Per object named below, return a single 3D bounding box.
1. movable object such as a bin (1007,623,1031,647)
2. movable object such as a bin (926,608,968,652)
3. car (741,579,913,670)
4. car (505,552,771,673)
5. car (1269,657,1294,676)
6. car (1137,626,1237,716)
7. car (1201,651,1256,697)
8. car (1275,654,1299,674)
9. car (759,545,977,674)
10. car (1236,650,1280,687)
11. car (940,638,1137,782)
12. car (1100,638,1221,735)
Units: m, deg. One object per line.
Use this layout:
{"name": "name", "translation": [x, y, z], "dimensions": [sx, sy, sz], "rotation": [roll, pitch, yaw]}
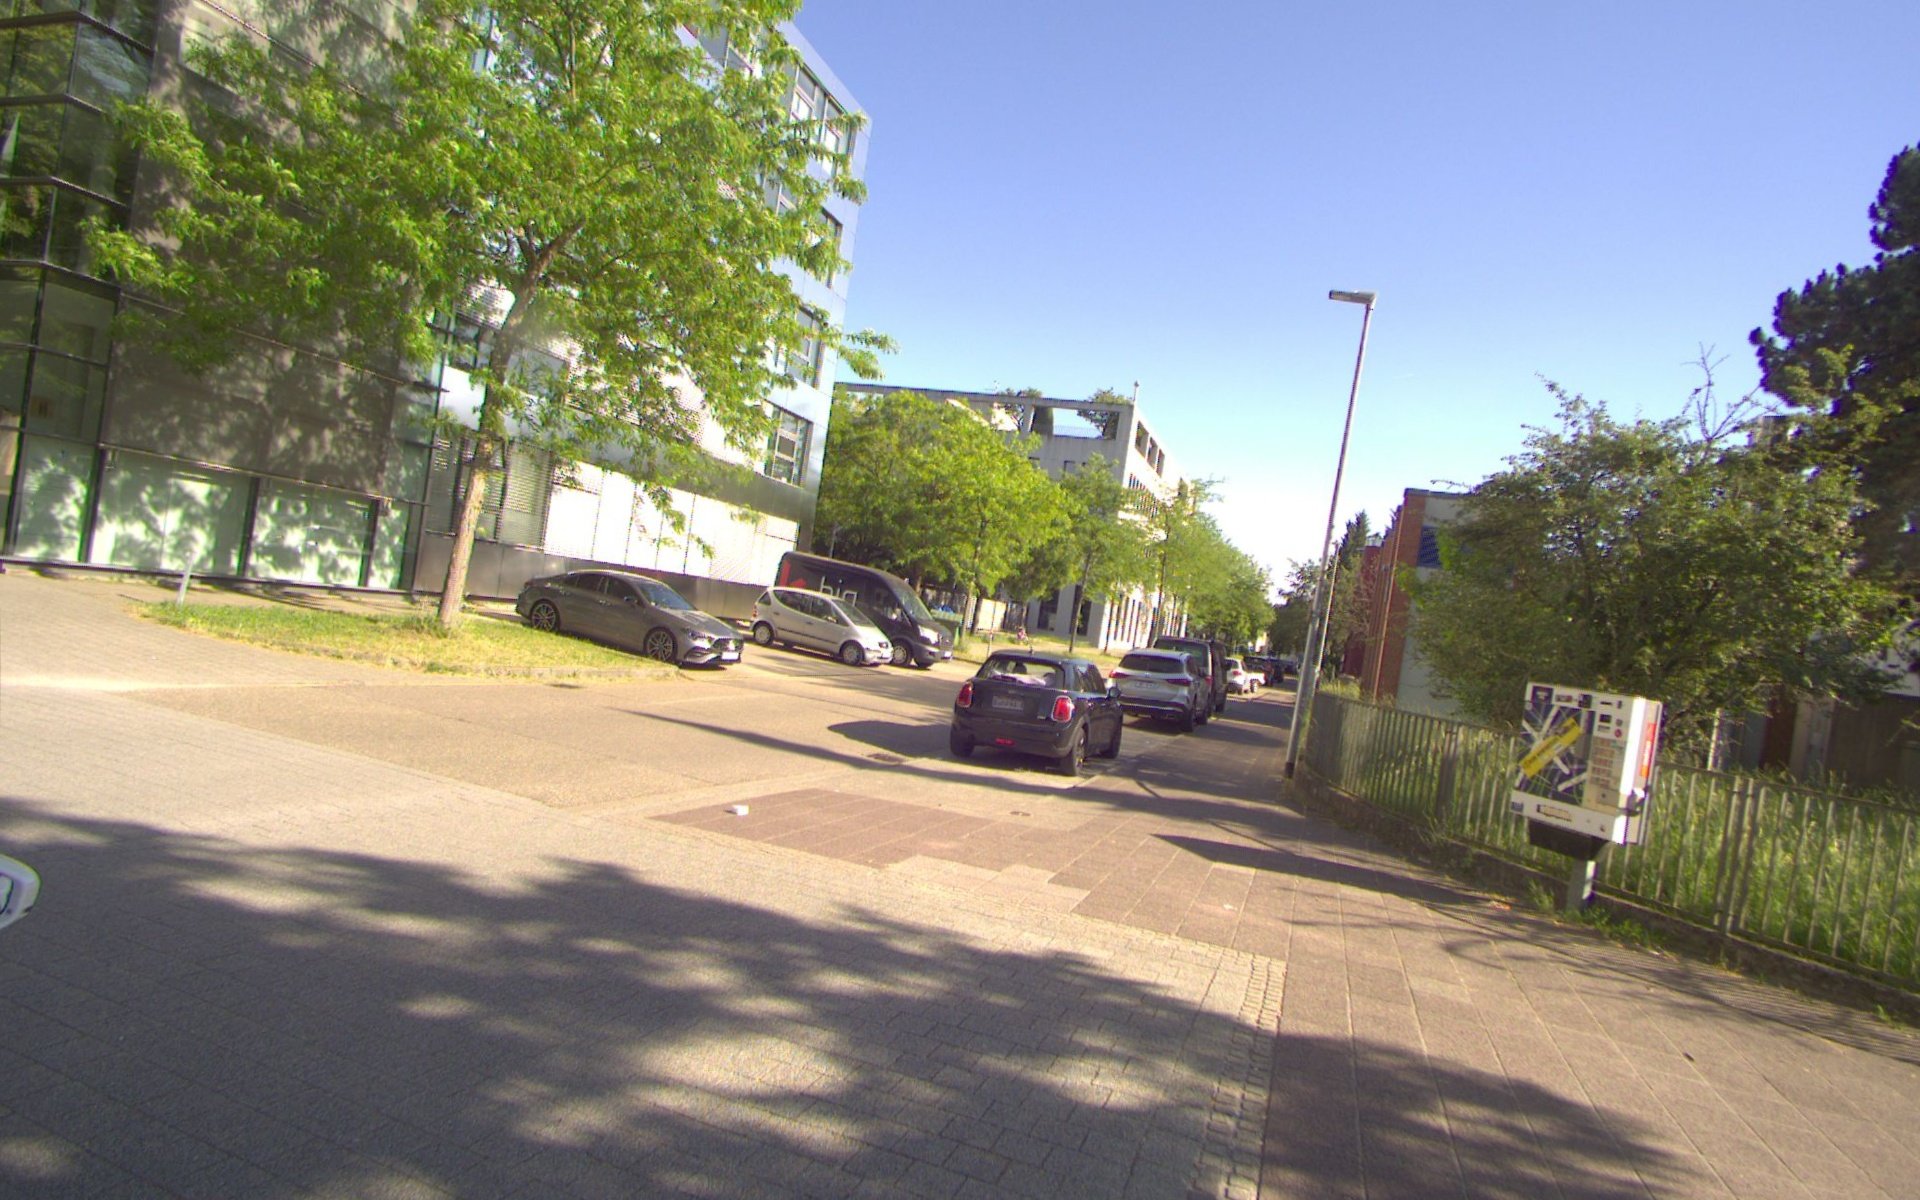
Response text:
{"name": "movable object such as a bin", "translation": [3.354, 1.997, 57.084], "dimensions": [0.653, 1.196, 1.935], "rotation": [9, 0, 21]}
{"name": "movable object such as a bin", "translation": [-0.480, 1.123, 37.671], "dimensions": [1.273, 1.431, 1.228], "rotation": [9, 1, 3]}
{"name": "car", "translation": [-3.434, 0.644, 26.094], "dimensions": [3.773, 1.664, 1.893], "rotation": [10, 0, 20]}
{"name": "car", "translation": [-6.112, 0.244, 19.122], "dimensions": [4.466, 1.366, 1.893], "rotation": [11, 1, 20]}
{"name": "car", "translation": [31.347, 6.469, 97.940], "dimensions": [1.963, 1.459, 4.001], "rotation": [9, -1, 21]}
{"name": "car", "translation": [6.413, 1.966, 28.015], "dimensions": [1.913, 2.046, 4.827], "rotation": [7, -1, 20]}
{"name": "car", "translation": [11.331, 3.083, 42.319], "dimensions": [1.634, 1.580, 3.934], "rotation": [9, 0, 21]}
{"name": "car", "translation": [33.574, 6.583, 103.322], "dimensions": [1.963, 1.856, 4.000], "rotation": [5, -1, 21]}
{"name": "car", "translation": [-2.598, 0.272, 28.529], "dimensions": [5.371, 2.654, 2.232], "rotation": [10, 1, 20]}
{"name": "car", "translation": [16.423, 3.746, 55.301], "dimensions": [1.810, 1.653, 4.201], "rotation": [9, 0, 21]}
{"name": "car", "translation": [1.217, 1.421, 13.784], "dimensions": [1.626, 1.489, 3.766], "rotation": [7, -1, 20]}
{"name": "car", "translation": [4.454, 1.835, 21.826], "dimensions": [1.797, 1.648, 4.295], "rotation": [7, -1, 20]}
